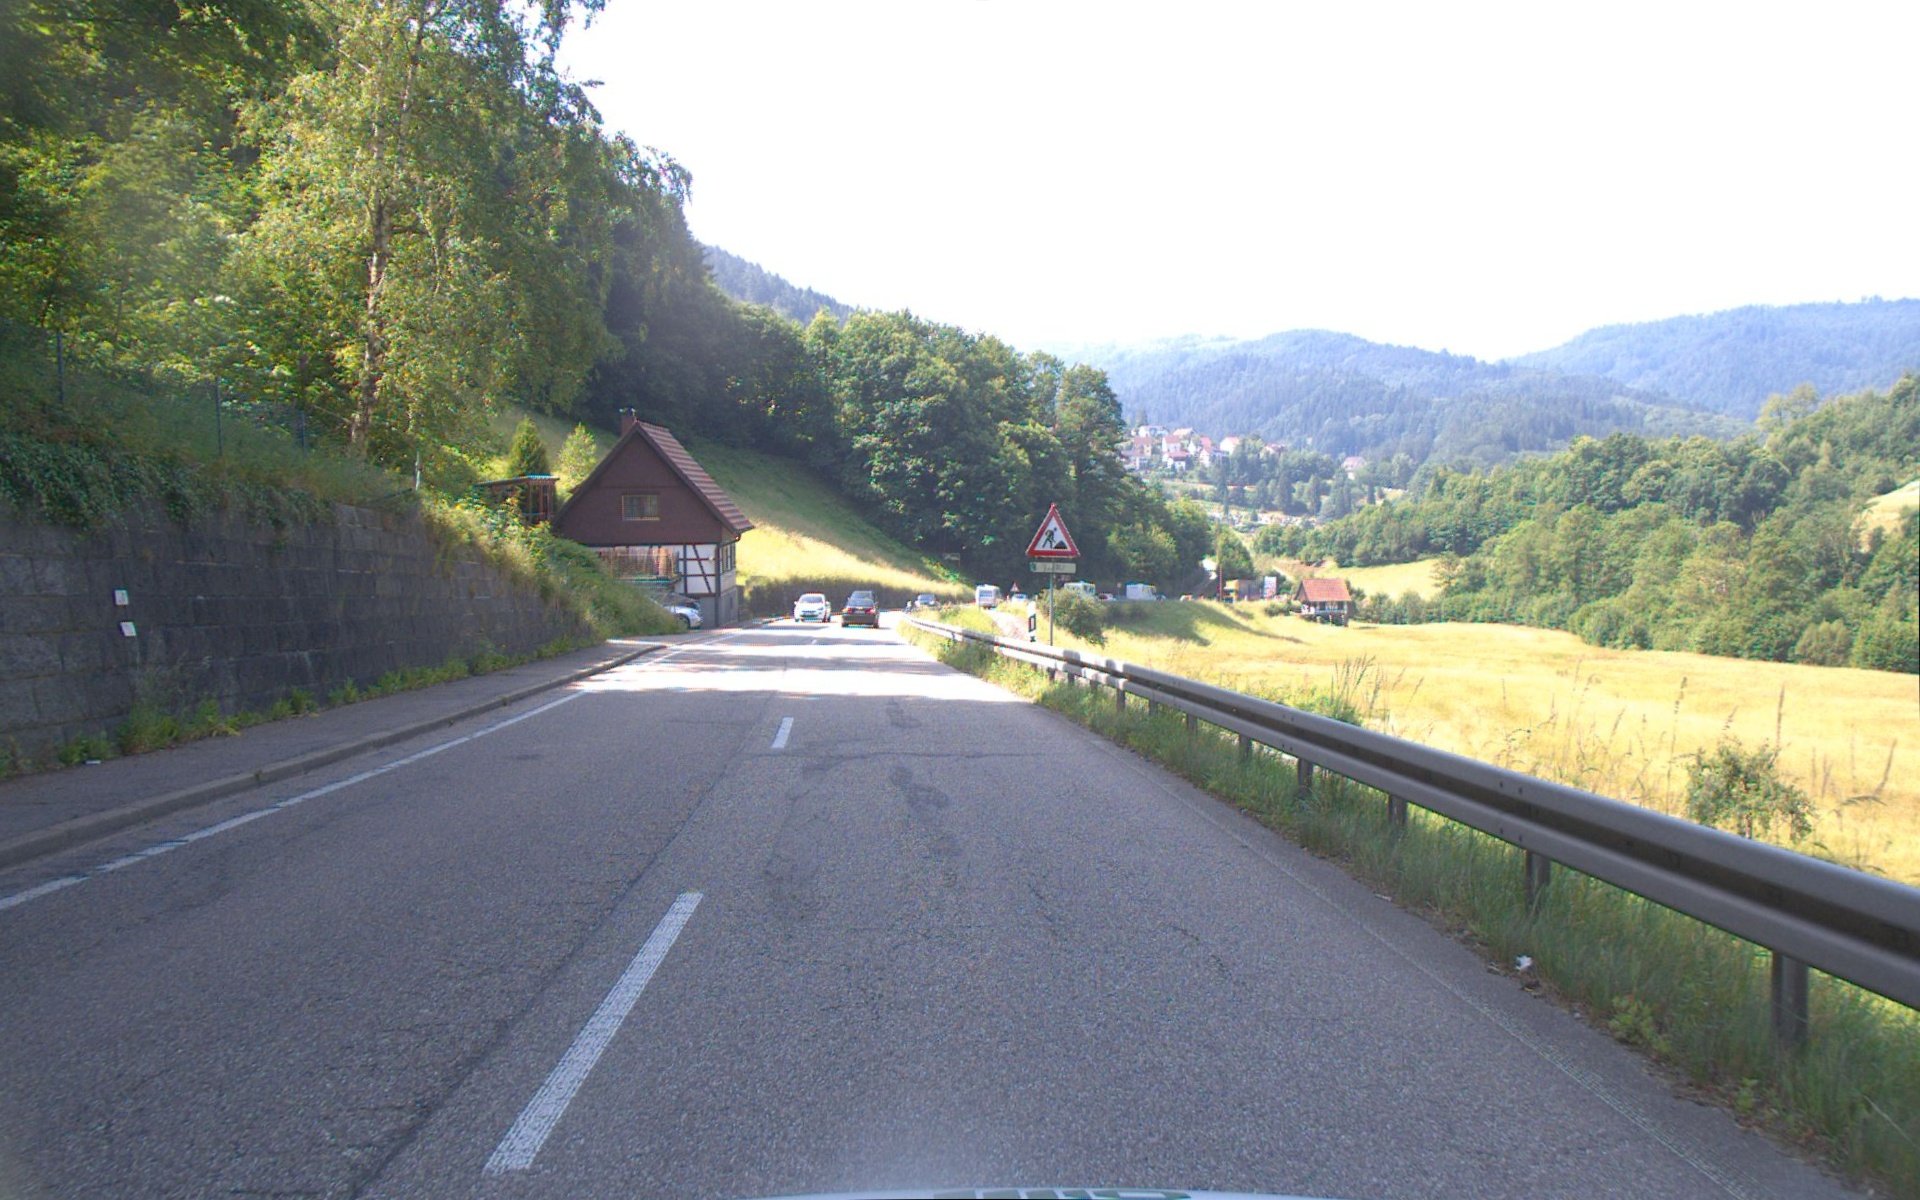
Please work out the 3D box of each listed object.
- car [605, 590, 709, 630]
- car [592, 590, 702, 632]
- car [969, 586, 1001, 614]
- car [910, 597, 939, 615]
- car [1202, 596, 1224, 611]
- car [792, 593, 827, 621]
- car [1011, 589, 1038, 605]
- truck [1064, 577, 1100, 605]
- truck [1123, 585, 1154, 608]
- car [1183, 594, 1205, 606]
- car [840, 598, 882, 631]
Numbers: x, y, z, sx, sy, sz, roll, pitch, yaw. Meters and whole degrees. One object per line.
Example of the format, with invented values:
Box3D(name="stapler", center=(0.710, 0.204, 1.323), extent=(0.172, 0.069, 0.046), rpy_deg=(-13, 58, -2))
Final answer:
Box3D(name="car", center=(-11.849, 0.396, 64.904), extent=(3.738, 1.458, 1.863), rpy_deg=(1, 1, -1))
Box3D(name="car", center=(-11.695, 0.387, 61.900), extent=(3.739, 1.441, 1.857), rpy_deg=(1, 1, -1))
Box3D(name="car", center=(2.322, -0.050, 154.729), extent=(1.951, 2.393, 4.919), rpy_deg=(3, 2, 12))
Box3D(name="car", center=(-2.979, 0.477, 140.637), extent=(1.727, 1.420, 4.149), rpy_deg=(2, 1, 9))
Box3D(name="car", center=(38.470, 0.506, 251.138), extent=(1.956, 1.959, 3.994), rpy_deg=(5, 1, 28))
Box3D(name="car", center=(-8.057, 0.372, 88.873), extent=(1.742, 1.462, 3.997), rpy_deg=(0, 0, -4))
Box3D(name="car", center=(6.904, -0.296, 175.979), extent=(1.952, 1.509, 4.003), rpy_deg=(4, 2, 15))
Box3D(name="truck", center=(14.664, -1.133, 198.471), extent=(2.733, 3.049, 6.872), rpy_deg=(4, 2, 16))
Box3D(name="truck", center=(24.006, -0.464, 221.759), extent=(2.193, 2.852, 6.228), rpy_deg=(3, 0, 24))
Box3D(name="car", center=(34.012, 0.048, 240.527), extent=(1.871, 1.511, 3.994), rpy_deg=(5, 1, 28))
Box3D(name="car", center=(-4.659, 0.673, 78.245), extent=(1.735, 1.358, 3.768), rpy_deg=(2, 2, 0))
